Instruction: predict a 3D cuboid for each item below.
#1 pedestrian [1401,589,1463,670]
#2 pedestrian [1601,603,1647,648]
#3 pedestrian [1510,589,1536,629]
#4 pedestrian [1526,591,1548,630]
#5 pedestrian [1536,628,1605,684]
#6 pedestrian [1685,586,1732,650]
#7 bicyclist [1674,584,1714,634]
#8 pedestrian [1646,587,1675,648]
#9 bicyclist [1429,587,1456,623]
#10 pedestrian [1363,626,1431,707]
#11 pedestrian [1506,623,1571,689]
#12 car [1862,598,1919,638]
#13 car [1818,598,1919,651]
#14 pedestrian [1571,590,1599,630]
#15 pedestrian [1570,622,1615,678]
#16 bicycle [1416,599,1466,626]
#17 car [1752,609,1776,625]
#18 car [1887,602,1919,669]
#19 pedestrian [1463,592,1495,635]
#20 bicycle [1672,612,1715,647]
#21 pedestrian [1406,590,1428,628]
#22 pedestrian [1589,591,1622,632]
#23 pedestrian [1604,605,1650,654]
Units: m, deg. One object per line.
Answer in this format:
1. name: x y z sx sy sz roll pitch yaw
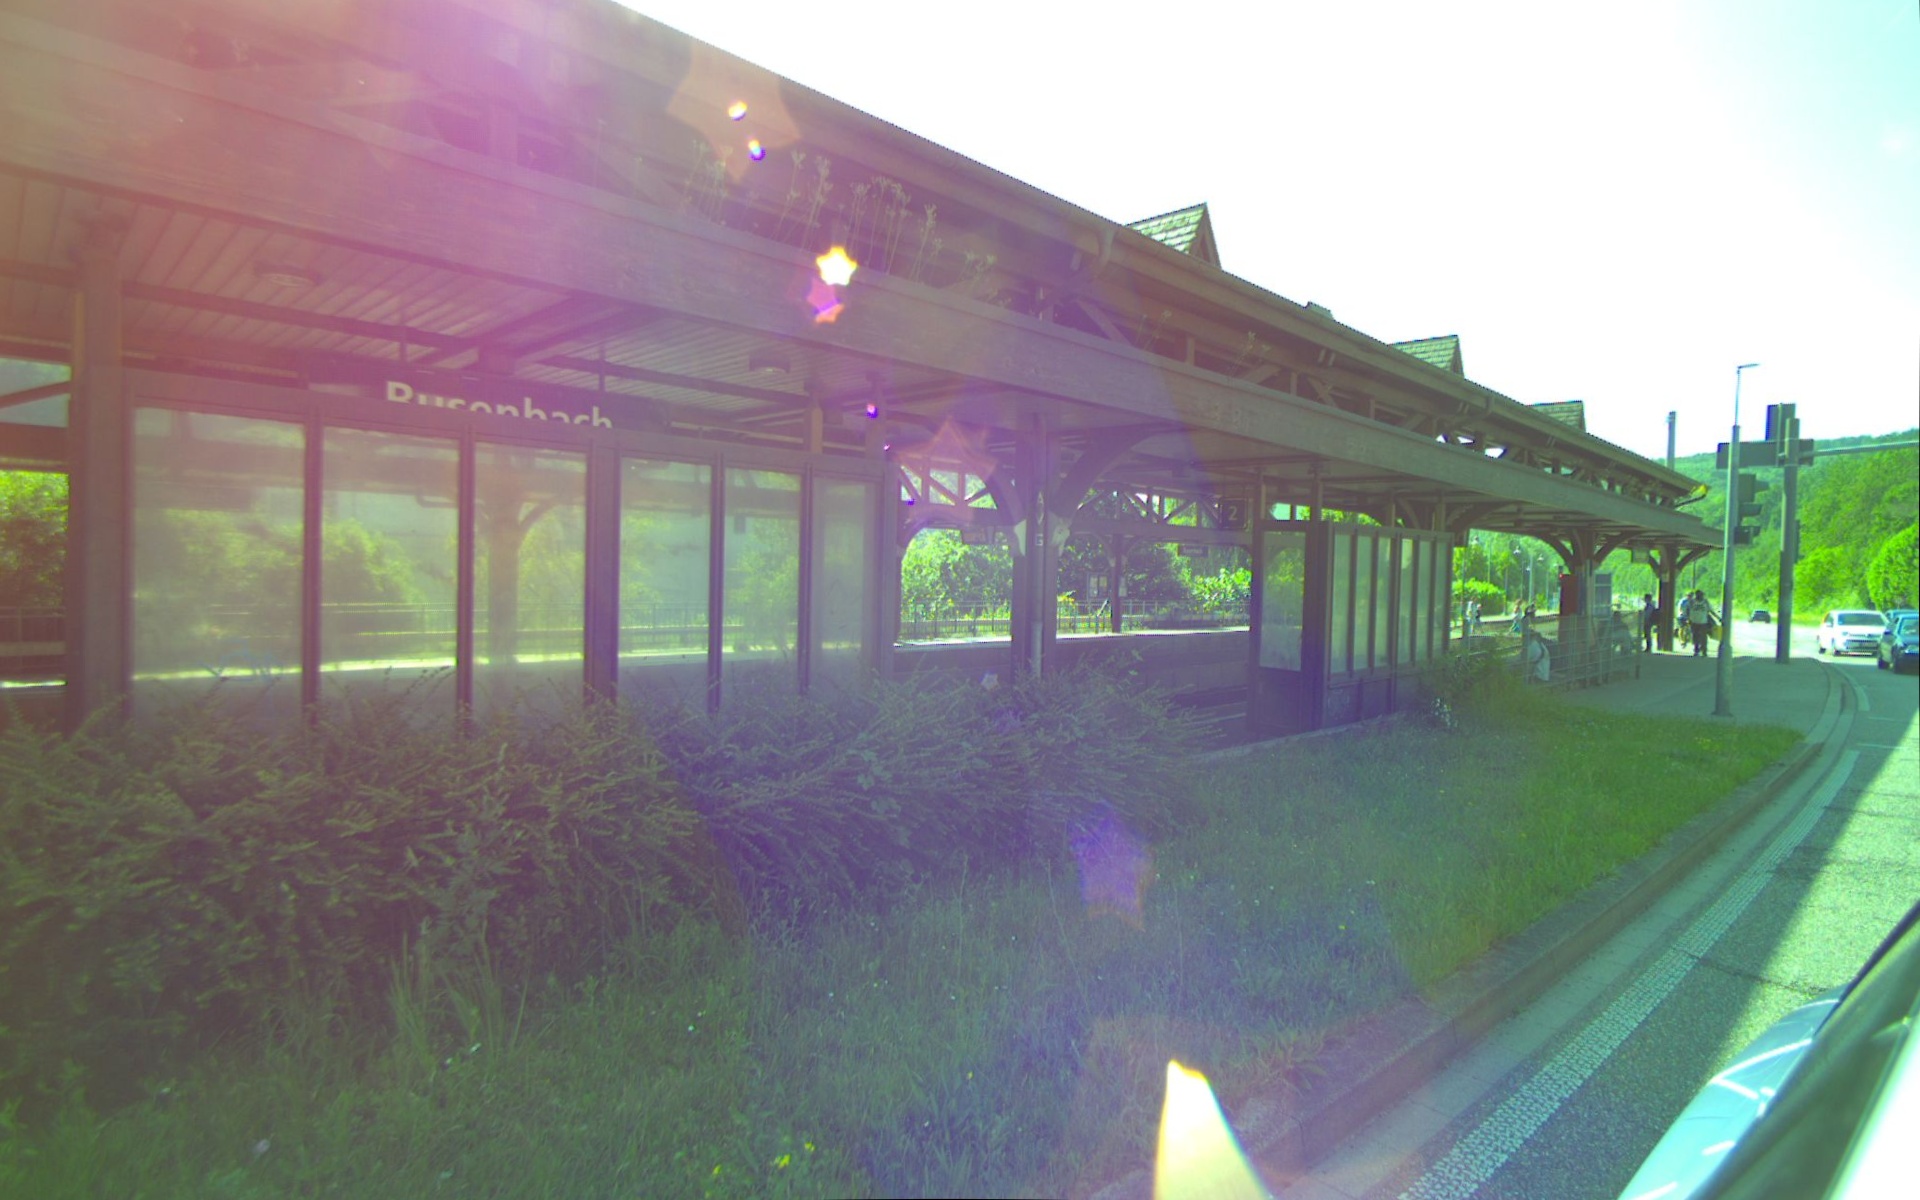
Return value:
1. pedestrian: 9.518 0.575 20.399 0.860 1.567 0.908 1 -1 43
2. pedestrian: 18.062 0.681 27.518 1.003 1.174 0.937 1 0 35
3. pedestrian: 24.419 0.391 43.896 0.894 1.706 0.815 0 -2 26
4. pedestrian: 25.603 0.486 44.912 0.669 1.706 0.560 1 -2 -20
5. pedestrian: 10.141 0.917 16.810 0.844 0.885 0.795 -1 -2 42
6. pedestrian: 21.061 0.506 28.472 0.913 1.759 1.232 -1 -2 42
7. bicyclist: 23.510 0.290 32.437 0.777 1.589 0.940 -1 -1 20
8. pedestrian: 20.167 0.480 29.132 0.655 1.713 0.730 1 1 35
9. bicyclist: 22.765 0.243 47.781 0.887 1.706 0.821 0 -2 3
10. pedestrian: 6.348 0.940 14.711 0.741 1.131 0.657 -1 -2 42
11. pedestrian: 9.129 0.870 15.966 0.741 0.995 0.757 -1 -2 42
12. car: 38.470 0.740 41.150 1.965 1.523 3.941 0 -1 31
13. car: 29.713 0.773 32.992 1.984 1.605 3.955 -1 -1 31
14. pedestrian: 26.562 0.432 42.981 0.864 1.706 0.810 -1 -2 42
15. pedestrian: 11.279 0.883 18.039 0.616 0.978 0.400 -1 -2 42
16. bicycle: 22.695 0.593 47.758 1.983 1.224 0.709 0 -2 3
17. car: 89.074 1.878 112.127 1.990 1.772 3.942 -1 -2 40
18. car: 23.534 0.828 24.032 1.857 1.501 4.243 2 1 38
19. pedestrian: 23.433 0.605 45.697 1.054 1.867 0.989 3 -2 -42
20. bicycle: 23.495 0.928 32.426 0.596 1.069 1.802 -1 -1 19
21. pedestrian: 20.941 0.433 46.327 0.894 1.706 1.114 0 -2 26
22. pedestrian: 26.719 0.483 41.882 0.808 1.706 0.901 0 -2 8
23. pedestrian: 17.434 0.773 26.462 0.988 1.251 0.589 -1 -2 36
